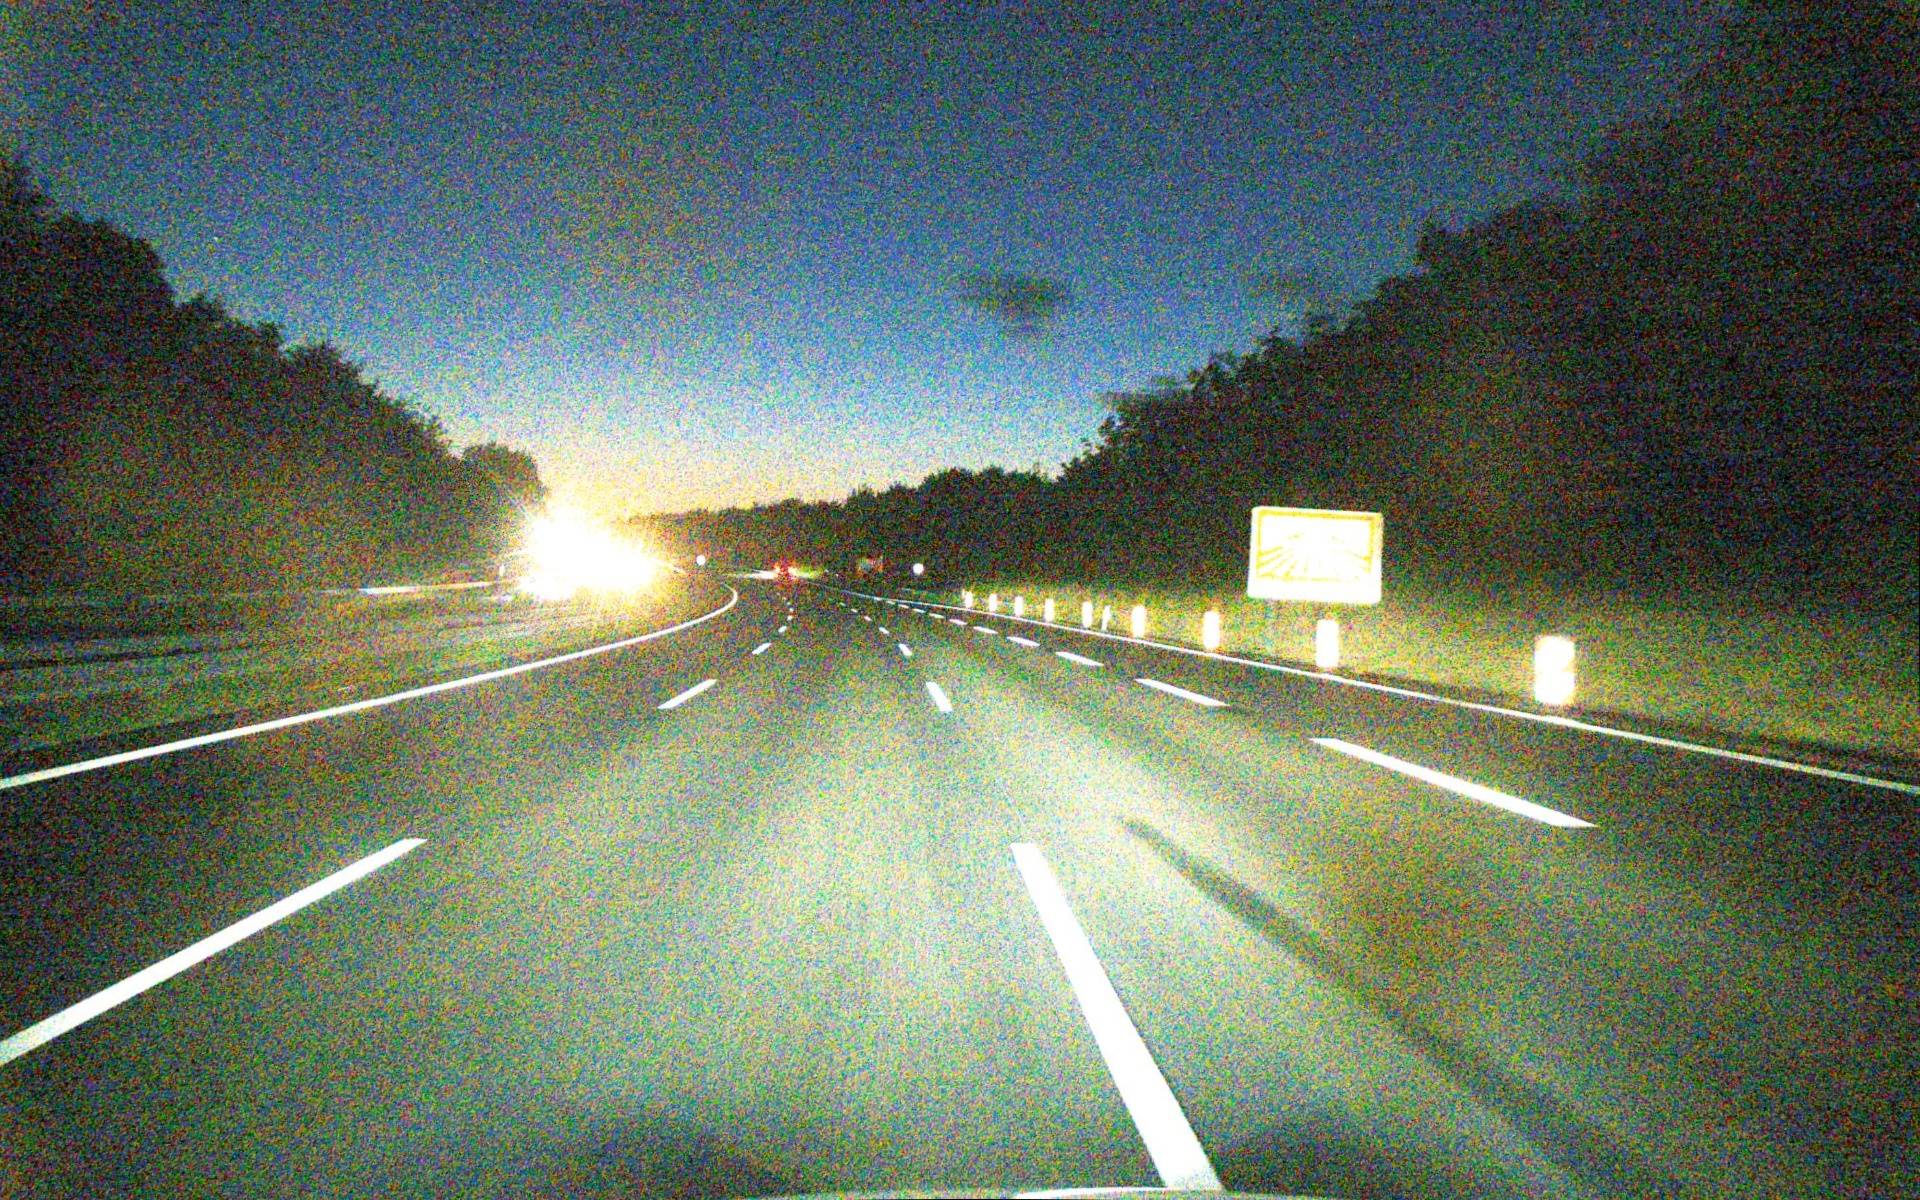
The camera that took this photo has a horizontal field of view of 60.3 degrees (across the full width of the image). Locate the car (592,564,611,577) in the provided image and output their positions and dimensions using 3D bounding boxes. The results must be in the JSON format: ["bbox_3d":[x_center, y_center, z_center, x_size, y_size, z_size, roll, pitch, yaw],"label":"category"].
[{"bbox_3d":[-44.058,-3.582,203.350,1.955,1.534,3.994,1,1,-7],"label":"car"}]

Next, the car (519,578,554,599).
[{"bbox_3d":[-31.662,-0.899,123.701,1.955,1.534,4.309,1,1,-7],"label":"car"}]

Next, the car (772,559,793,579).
[{"bbox_3d":[-24.197,-4.255,225.477,2.481,2.597,6.040,3,1,-8],"label":"car"}]
